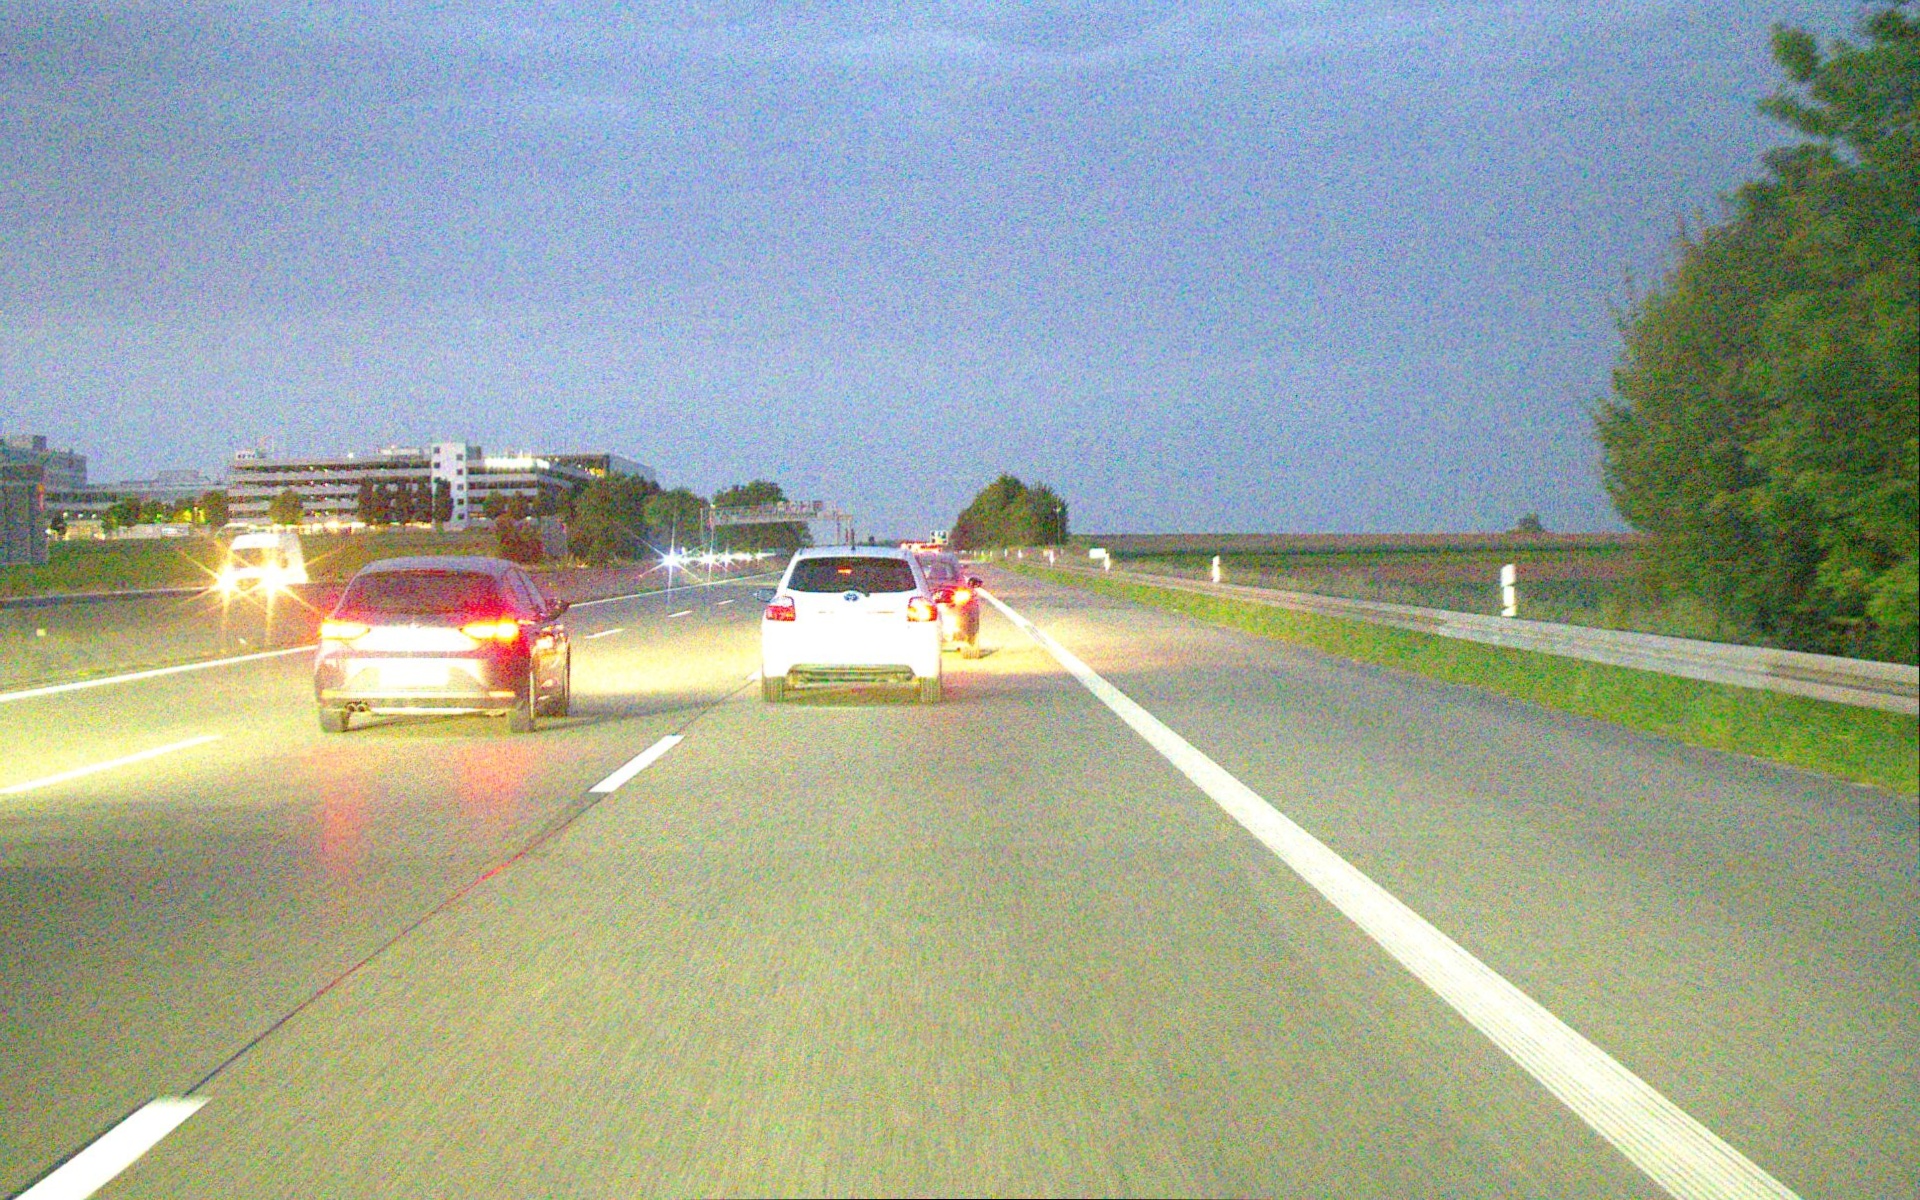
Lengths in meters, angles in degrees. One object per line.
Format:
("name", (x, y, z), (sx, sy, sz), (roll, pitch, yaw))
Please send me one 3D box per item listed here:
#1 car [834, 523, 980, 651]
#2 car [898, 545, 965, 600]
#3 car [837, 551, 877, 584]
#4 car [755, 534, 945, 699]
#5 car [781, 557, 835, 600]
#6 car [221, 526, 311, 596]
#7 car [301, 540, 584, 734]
("car", (-0.714, -0.180, 46.967), (1.880, 1.637, 4.000), (1, 0, -1))
("car", (-0.862, -0.803, 101.617), (1.880, 1.547, 4.000), (1, 0, -1))
("car", (-5.985, -1.863, 199.530), (2.199, 1.873, 4.000), (1, 0, -1))
("car", (-1.038, 0.144, 34.425), (1.744, 1.519, 4.414), (1, 0, 0))
("car", (-5.708, -0.817, 129.419), (1.880, 1.547, 4.000), (1, 0, -1))
("car", (-24.278, -1.347, 120.489), (1.993, 2.379, 5.836), (1, 0, 0))
("car", (-4.251, 0.271, 28.891), (1.722, 1.466, 4.726), (1, 0, -1))
